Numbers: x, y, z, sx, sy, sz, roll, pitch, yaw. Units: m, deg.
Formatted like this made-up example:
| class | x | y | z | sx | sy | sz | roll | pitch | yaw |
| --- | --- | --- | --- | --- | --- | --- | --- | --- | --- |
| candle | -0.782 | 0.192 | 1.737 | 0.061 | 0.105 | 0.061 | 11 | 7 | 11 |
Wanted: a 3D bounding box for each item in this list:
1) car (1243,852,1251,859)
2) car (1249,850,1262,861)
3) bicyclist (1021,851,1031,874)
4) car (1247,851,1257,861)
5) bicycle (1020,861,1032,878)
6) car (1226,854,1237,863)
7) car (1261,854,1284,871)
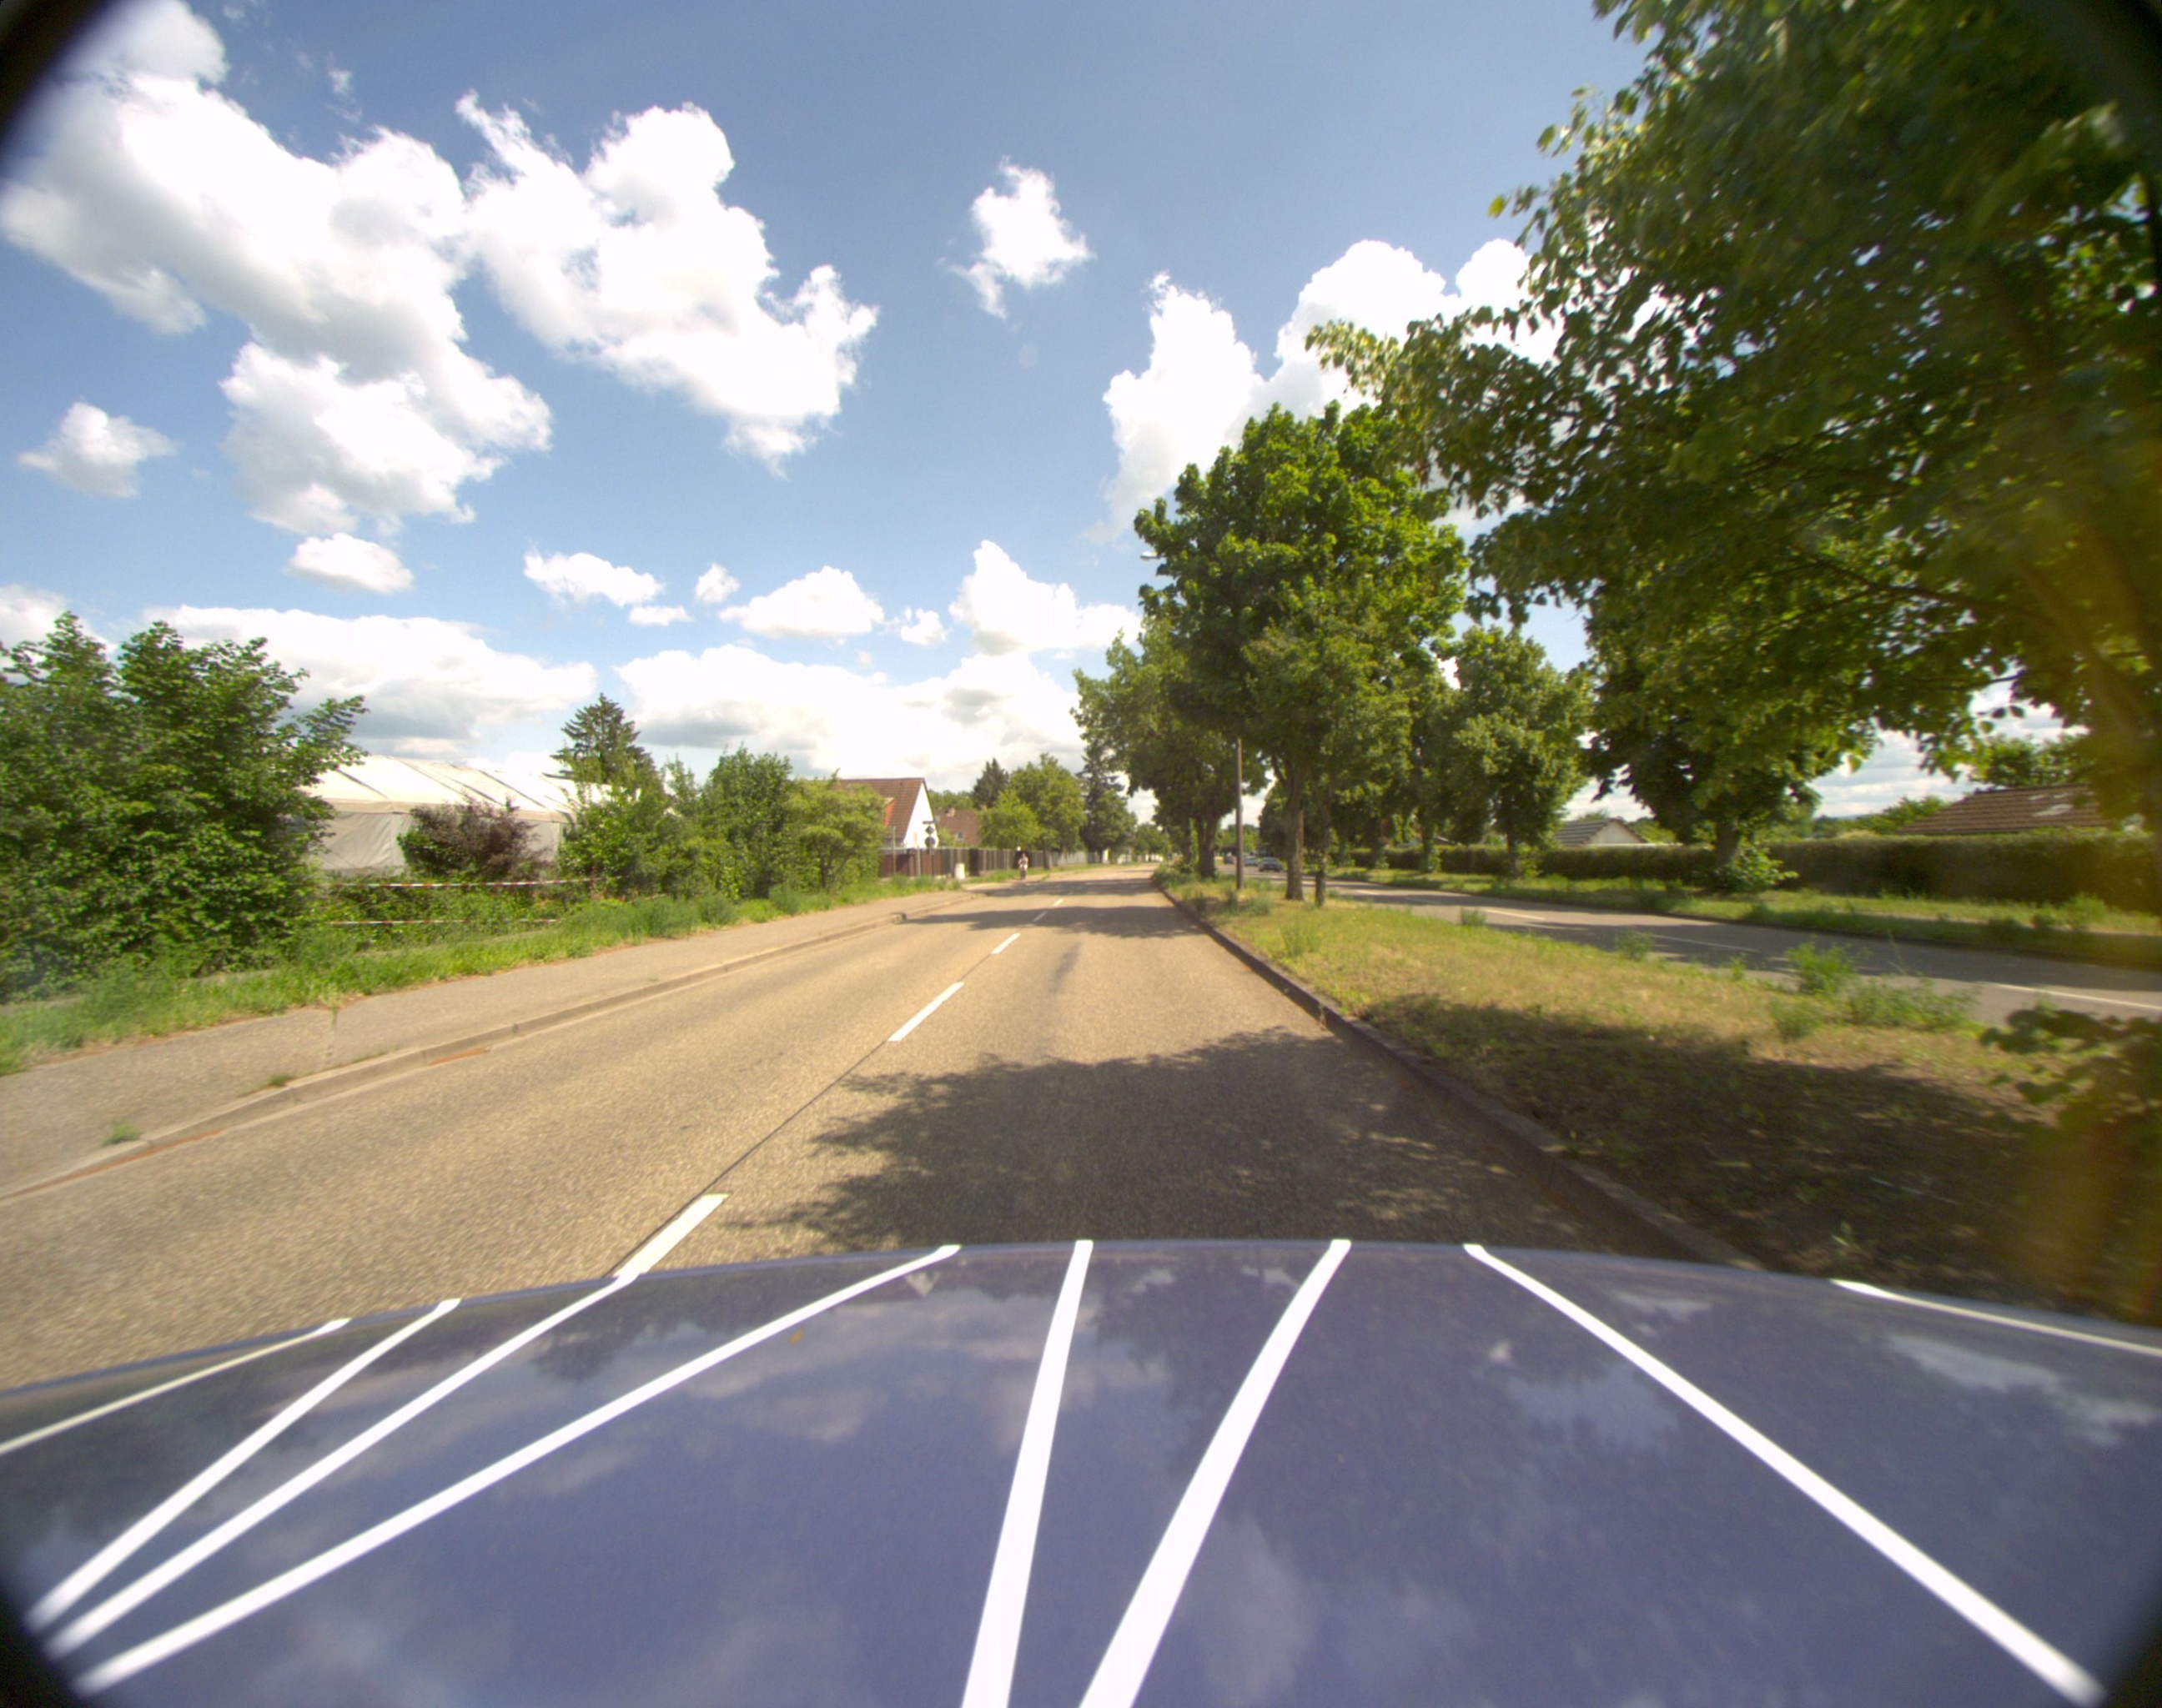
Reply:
| class | x | y | z | sx | sy | sz | roll | pitch | yaw |
| --- | --- | --- | --- | --- | --- | --- | --- | --- | --- |
| car | 36.282 | 0.299 | 166.103 | 1.739 | 1.577 | 4.116 | 1 | 0 | 12 |
| car | 25.746 | 0.254 | 112.321 | 1.739 | 1.577 | 4.116 | 1 | 0 | 12 |
| bicyclist | -3.929 | 0.632 | 54.108 | 0.620 | 1.625 | 0.700 | -1 | 1 | 3 |
| car | 28.540 | 0.372 | 126.850 | 1.739 | 1.577 | 4.116 | 1 | 0 | 12 |
| bicycle | -3.917 | 1.087 | 54.163 | 0.627 | 1.145 | 1.739 | -1 | 0 | 3 |
| car | 27.520 | 0.824 | 138.840 | 1.739 | 1.577 | 4.116 | 1 | 0 | 12 |
| car | 18.944 | 0.807 | 75.369 | 1.740 | 1.577 | 4.115 | 1 | 0 | 8 |
